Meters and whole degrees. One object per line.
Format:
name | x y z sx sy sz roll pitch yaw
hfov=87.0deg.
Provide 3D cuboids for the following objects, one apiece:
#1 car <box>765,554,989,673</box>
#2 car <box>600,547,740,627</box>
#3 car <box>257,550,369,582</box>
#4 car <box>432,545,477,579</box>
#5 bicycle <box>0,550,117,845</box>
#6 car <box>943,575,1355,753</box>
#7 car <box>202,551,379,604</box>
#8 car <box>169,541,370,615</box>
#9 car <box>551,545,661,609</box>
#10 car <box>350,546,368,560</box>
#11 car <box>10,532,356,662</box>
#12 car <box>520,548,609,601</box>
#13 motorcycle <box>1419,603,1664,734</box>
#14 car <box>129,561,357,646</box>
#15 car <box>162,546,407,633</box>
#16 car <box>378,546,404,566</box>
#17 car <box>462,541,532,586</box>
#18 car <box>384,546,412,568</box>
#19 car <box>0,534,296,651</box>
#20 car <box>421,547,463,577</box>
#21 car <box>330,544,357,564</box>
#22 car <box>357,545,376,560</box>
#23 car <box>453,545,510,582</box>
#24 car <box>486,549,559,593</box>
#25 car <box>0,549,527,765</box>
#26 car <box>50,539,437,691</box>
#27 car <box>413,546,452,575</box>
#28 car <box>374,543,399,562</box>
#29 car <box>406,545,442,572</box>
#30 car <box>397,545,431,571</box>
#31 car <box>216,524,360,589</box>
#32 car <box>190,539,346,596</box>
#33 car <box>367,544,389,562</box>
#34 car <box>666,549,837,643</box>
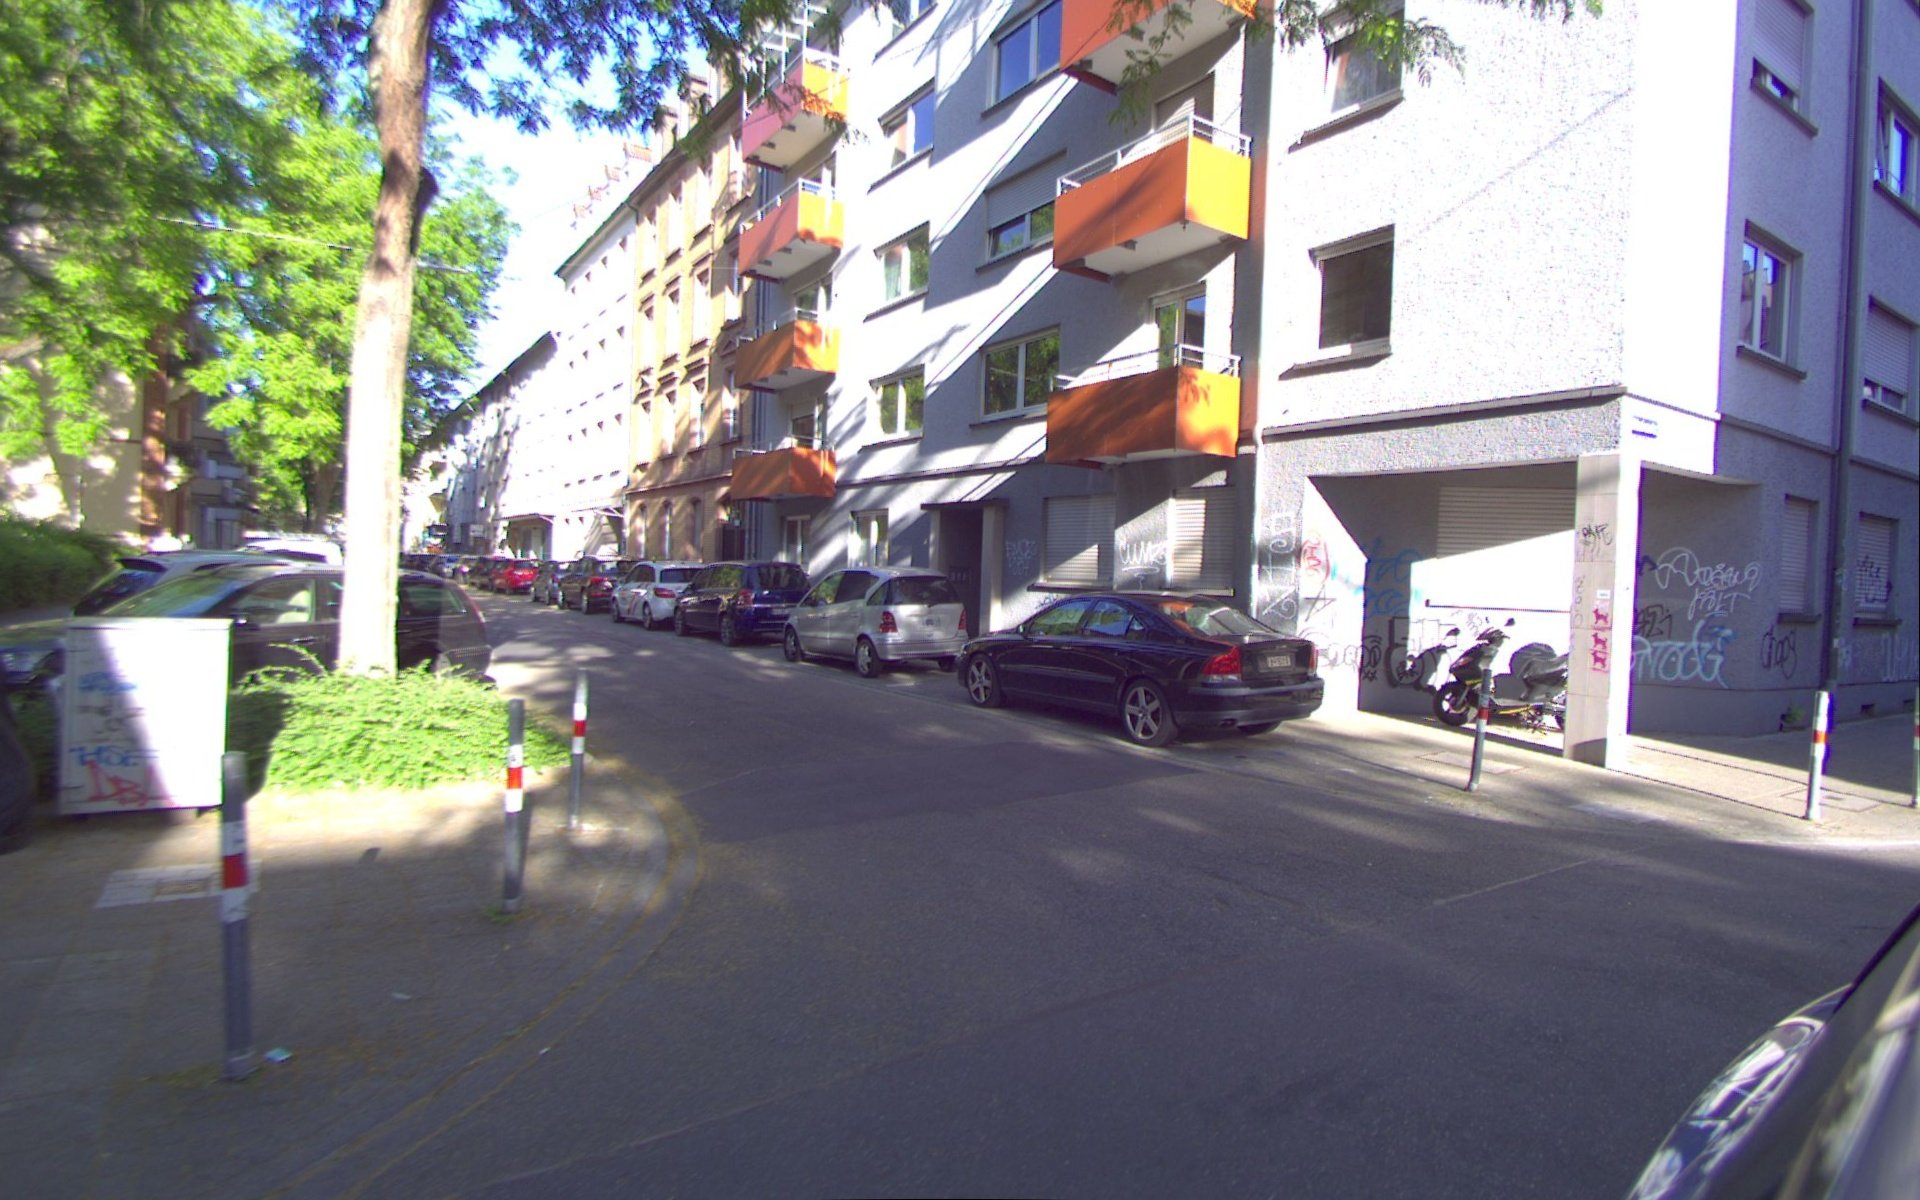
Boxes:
car | -1.453 0.092 16.228 1.834 1.637 4.001 -2 3 -35
car | -7.081 -0.346 24.478 1.962 1.749 4.000 2 1 -36
car | -29.585 -1.536 46.372 1.786 1.312 3.945 4 2 38
car | -28.406 -2.151 56.799 1.793 1.816 4.003 1 2 -33
bicycle | -5.562 0.419 5.149 2.090 1.387 0.775 3 1 10
car | 1.785 0.511 10.969 1.814 1.405 4.364 1 2 -34
car | -18.165 -0.587 27.597 1.578 1.298 3.718 3 2 38
car | -16.788 -0.527 24.744 1.713 1.638 3.718 3 2 38
car | -10.443 -0.695 29.702 1.962 1.718 4.000 2 1 -36
car | -77.422 -6.089 130.429 1.793 1.745 4.051 1 2 -33
car | -11.228 -0.069 14.836 1.713 1.638 3.718 3 2 38
car | -13.439 -0.879 34.260 1.961 1.638 4.003 2 1 -34
motorcycle | 6.214 0.700 10.949 2.125 1.242 0.741 1 3 15
car | -15.485 0.042 22.012 1.713 1.638 3.718 3 2 38
car | -13.394 -0.220 20.263 1.709 1.539 3.726 3 2 33
car | -51.980 -4.047 92.467 1.793 1.745 4.051 1 2 -33
car | -20.388 -1.626 44.463 1.962 1.830 4.522 1 2 -35
car | -48.745 -3.751 87.692 1.793 1.745 4.051 1 2 -33
car | -12.943 -0.144 16.011 1.713 1.638 3.718 3 2 38
car | -31.445 -2.318 61.399 1.793 1.745 4.051 1 2 -33
car | -54.556 -4.058 89.561 1.960 1.649 4.518 1 2 -32
car | -70.679 -5.690 120.526 1.793 1.745 4.051 1 2 -33
car | -23.322 -1.781 49.245 1.961 1.638 4.256 2 1 -33
car | -17.550 -1.189 40.477 1.961 1.638 4.003 2 1 -34
car | -6.944 0.357 10.024 1.784 1.571 5.063 3 2 23
car | -9.026 0.134 12.994 1.713 1.638 3.718 3 2 38
car | -34.183 -2.583 65.556 1.793 1.745 4.051 1 2 -33
car | -56.111 -4.626 99.019 1.793 1.745 4.051 1 2 -33
car | -37.312 -2.924 70.370 1.793 1.745 4.051 1 2 -33
car | -40.159 -3.102 74.394 1.793 1.745 4.051 1 2 -33
car | -23.091 -1.472 34.878 1.761 2.063 3.729 3 2 31
car | -21.606 -1.002 31.713 1.578 1.638 3.718 3 2 38
car | -60.672 -4.872 105.471 1.793 1.745 4.051 1 2 -33
car | -4.347 -0.181 20.683 1.963 1.682 4.000 -3 4 -36
